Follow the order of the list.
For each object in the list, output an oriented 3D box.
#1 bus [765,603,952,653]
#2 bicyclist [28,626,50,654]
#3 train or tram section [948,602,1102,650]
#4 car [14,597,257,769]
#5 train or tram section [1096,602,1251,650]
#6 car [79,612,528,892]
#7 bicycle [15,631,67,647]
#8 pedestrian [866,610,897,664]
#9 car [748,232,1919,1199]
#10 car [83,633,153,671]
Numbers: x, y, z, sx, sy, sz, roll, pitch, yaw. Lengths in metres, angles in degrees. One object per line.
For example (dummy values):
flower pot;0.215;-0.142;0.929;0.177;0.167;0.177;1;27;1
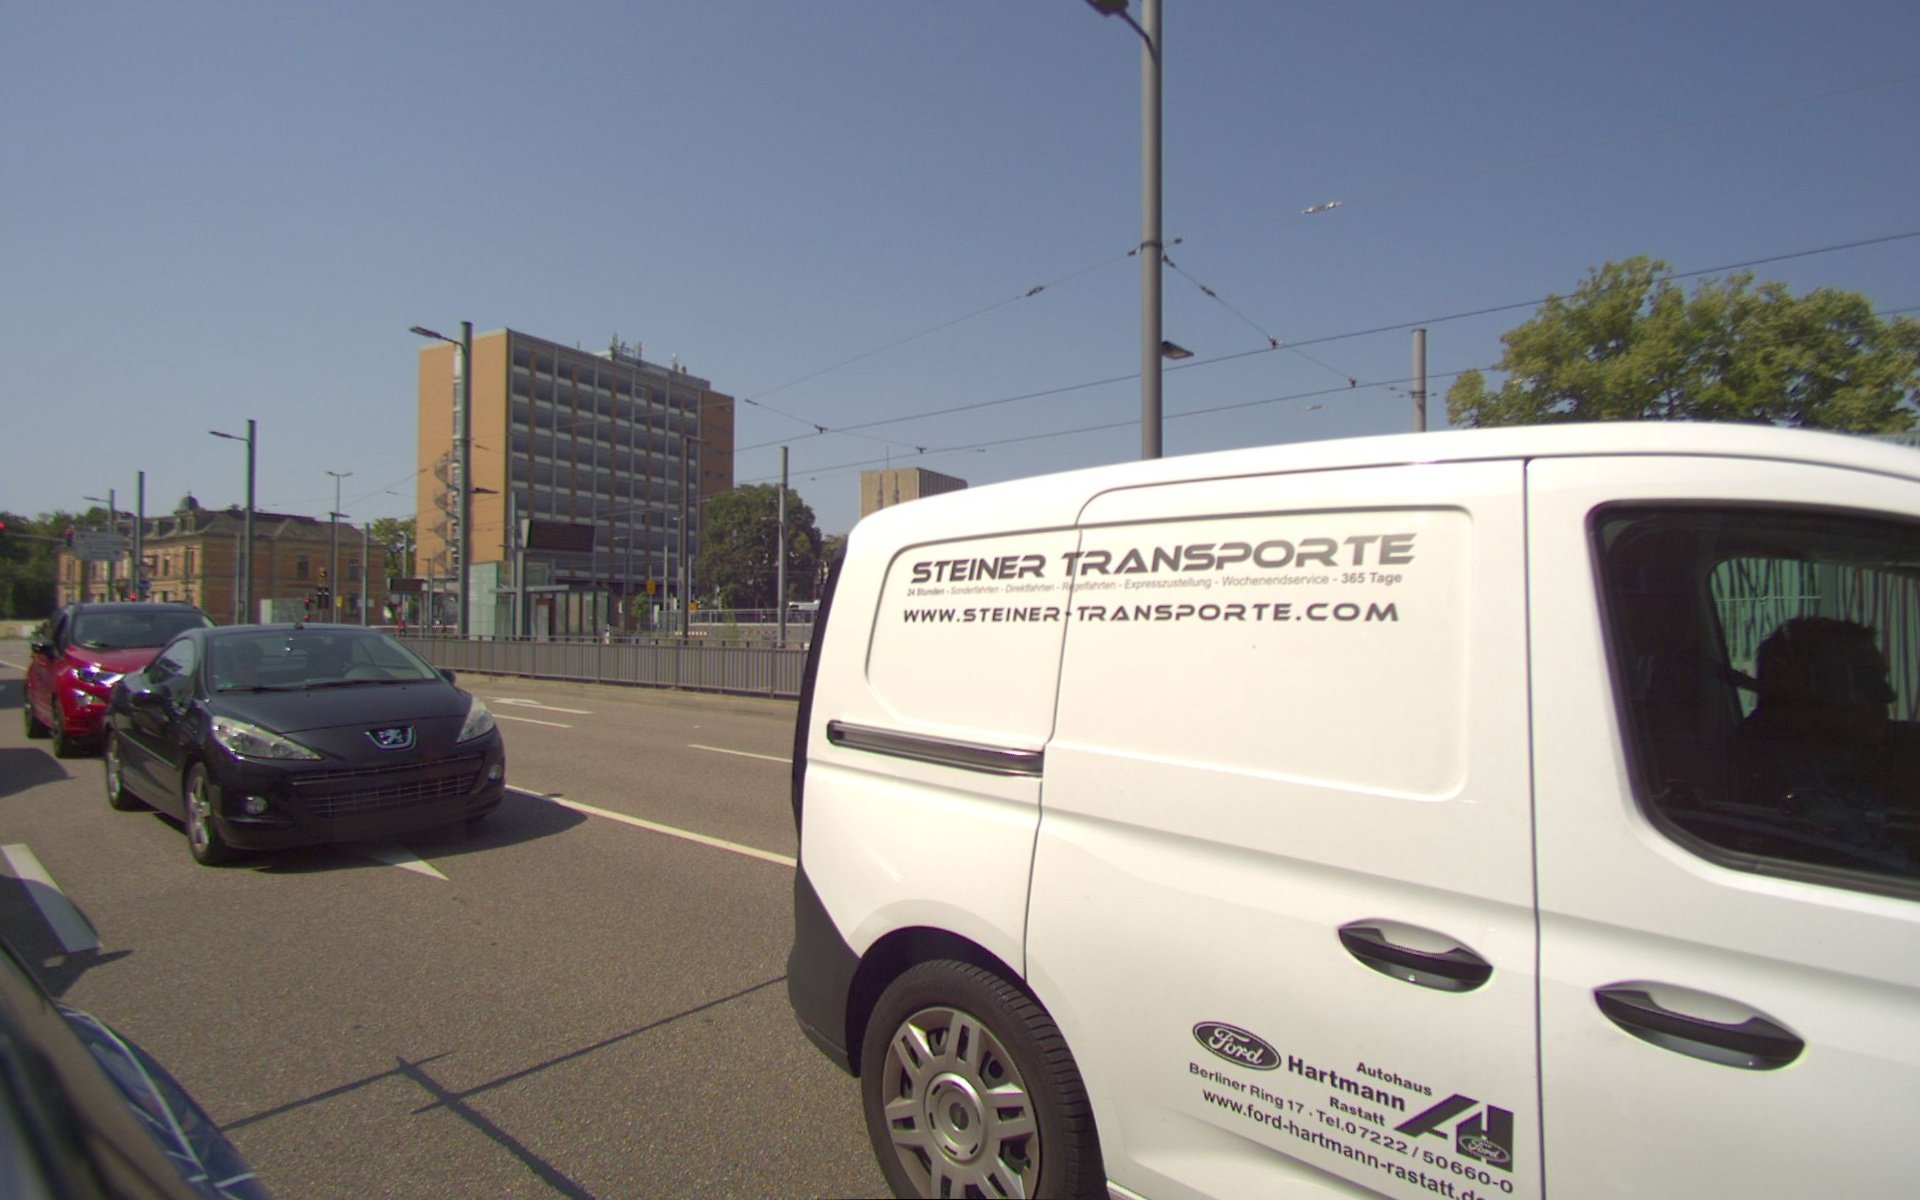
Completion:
bus;-7.330;1.996;73.614;13.205;3.319;3.354;-1;0;-4
bicyclist;-61.768;2.670;67.856;0.776;1.821;0.786;1;-2;-15
train or tram section;5.214;2.104;81.651;12.180;3.794;2.002;0;-2;-4
car;-9.543;0.823;11.599;3.967;1.633;1.612;-1;-1;43
train or tram section;17.367;2.143;82.556;12.180;3.794;2.002;0;-2;-4
car;-4.748;0.824;7.105;3.799;1.424;1.671;-1;-1;41
bicycle;-61.664;2.613;67.893;2.481;1.024;0.786;1;-2;-14
pedestrian;-2.643;1.239;34.191;0.761;1.801;0.735;-2;-3;42
car;1.610;0.502;1.846;4.237;1.834;1.729;-1;-1;41
car;-35.980;2.239;43.213;4.573;1.446;1.727;-4;-1;43
